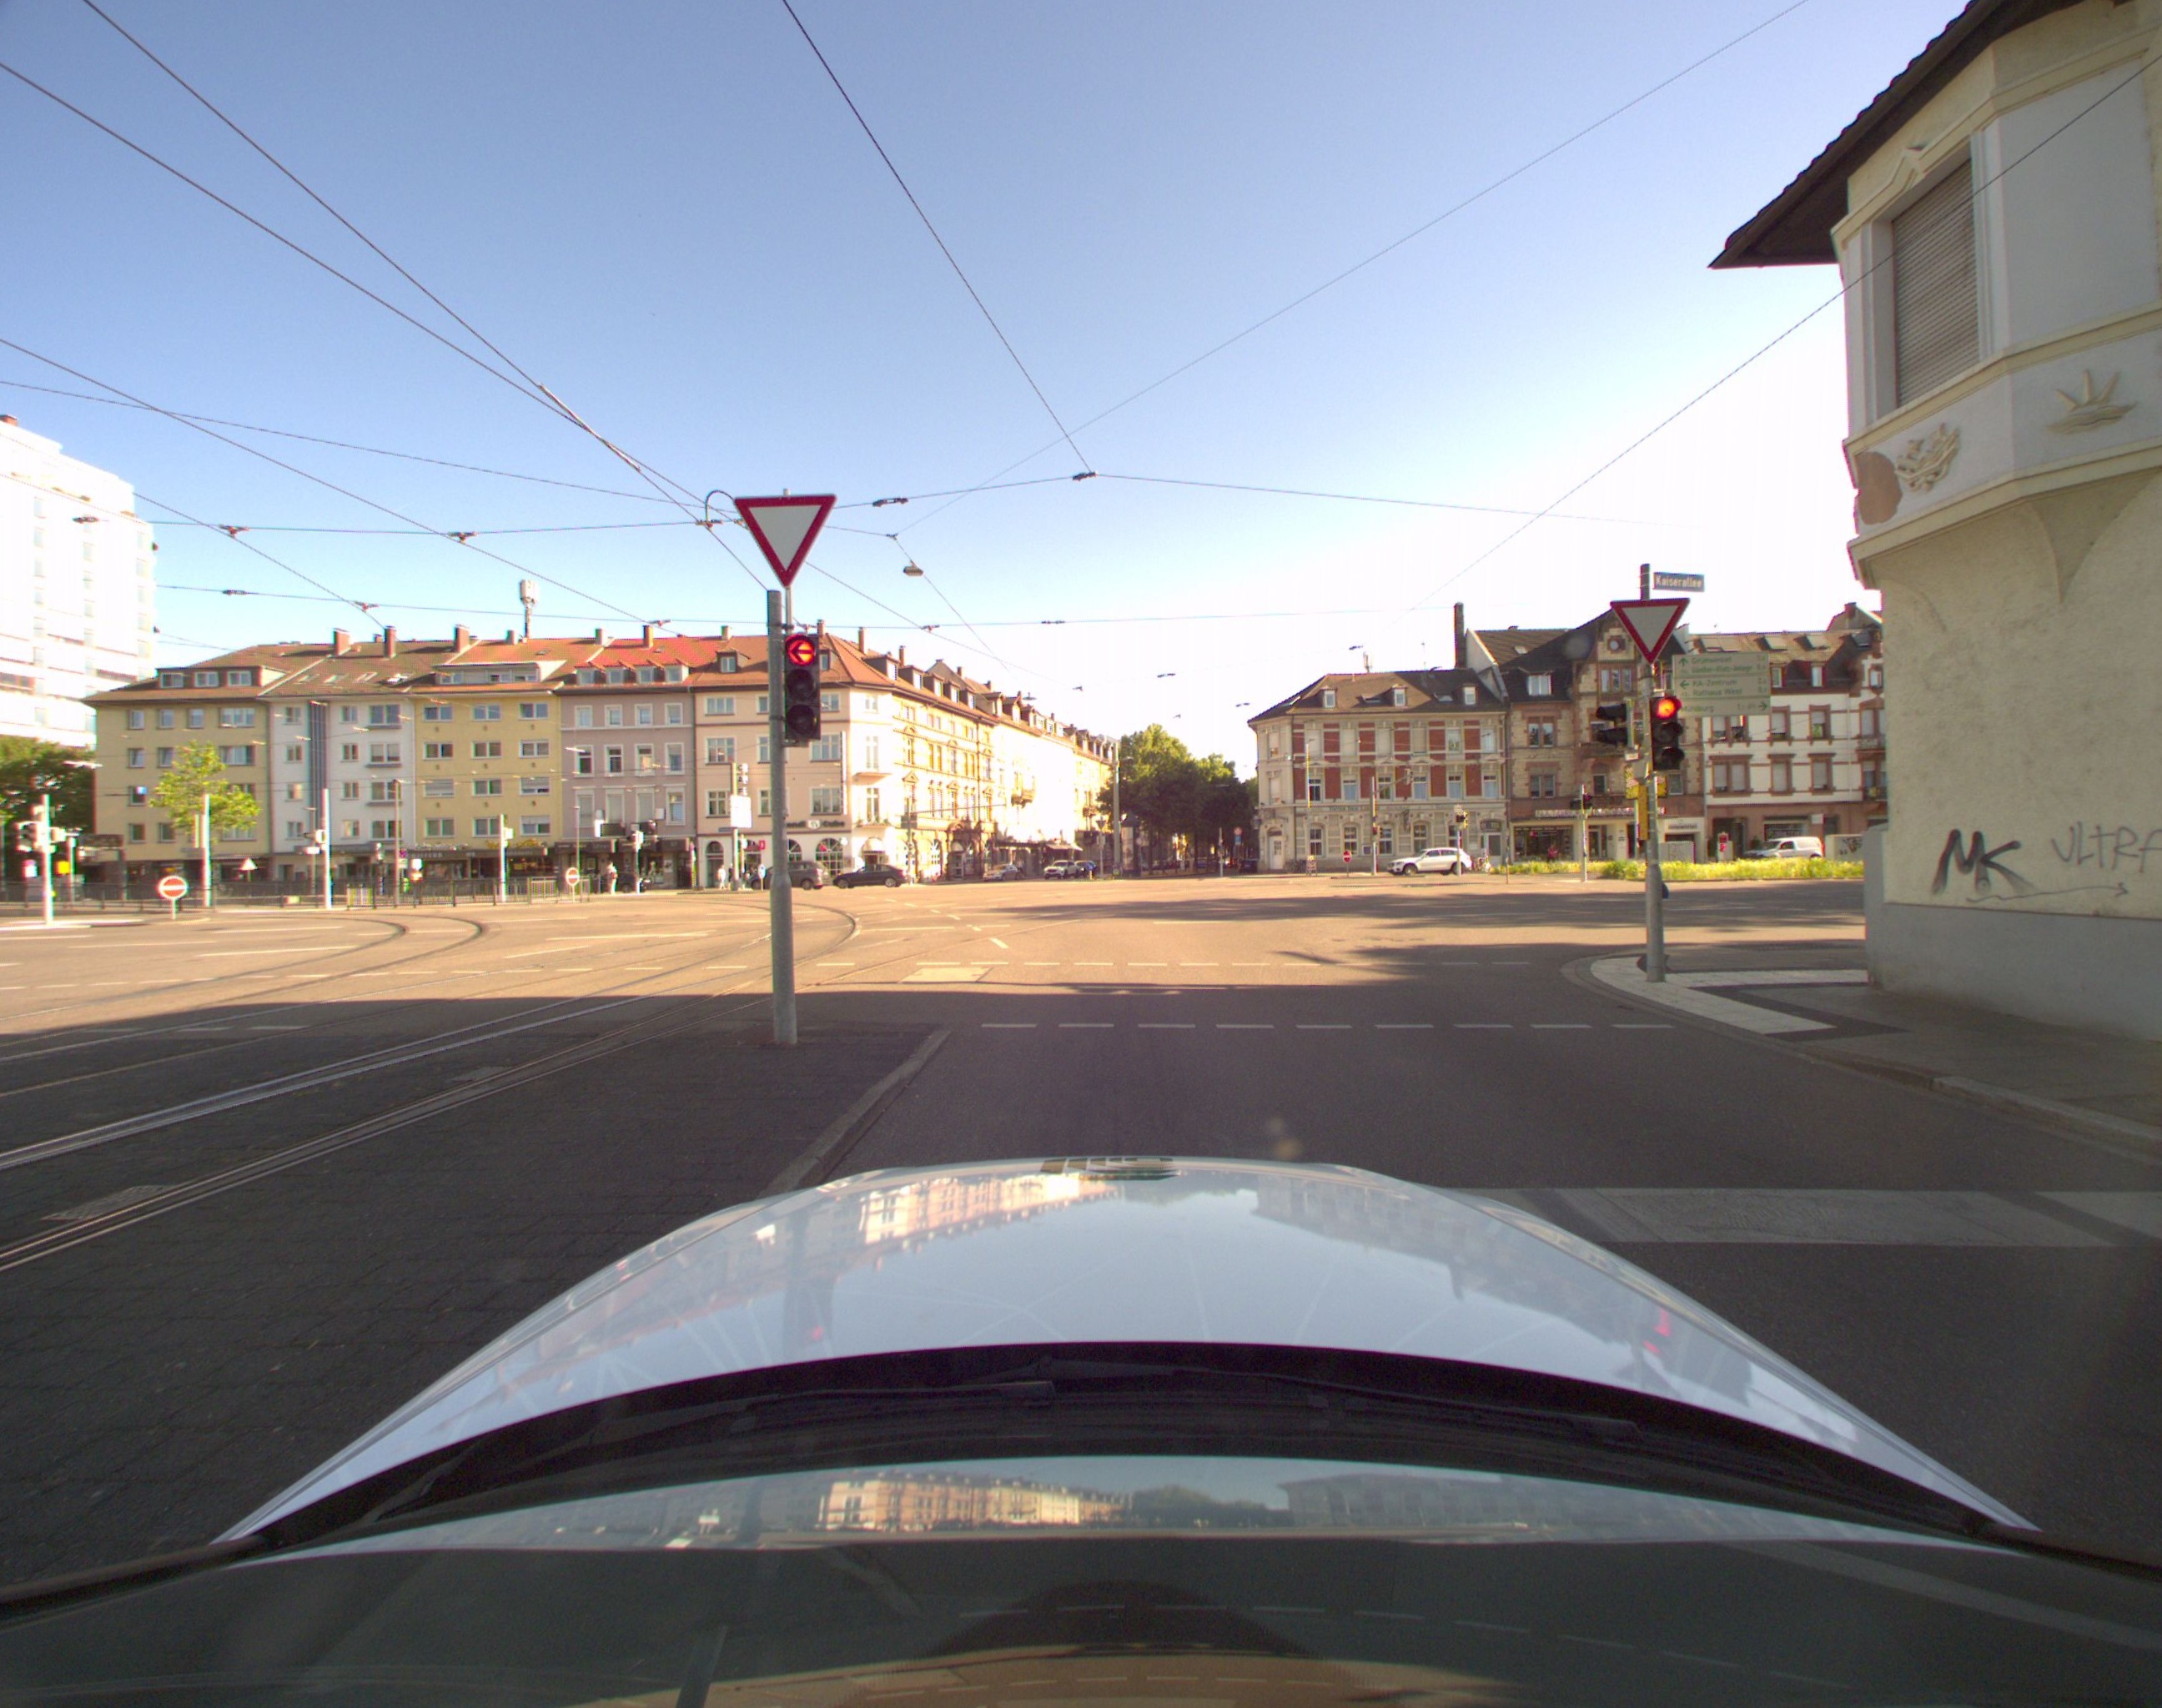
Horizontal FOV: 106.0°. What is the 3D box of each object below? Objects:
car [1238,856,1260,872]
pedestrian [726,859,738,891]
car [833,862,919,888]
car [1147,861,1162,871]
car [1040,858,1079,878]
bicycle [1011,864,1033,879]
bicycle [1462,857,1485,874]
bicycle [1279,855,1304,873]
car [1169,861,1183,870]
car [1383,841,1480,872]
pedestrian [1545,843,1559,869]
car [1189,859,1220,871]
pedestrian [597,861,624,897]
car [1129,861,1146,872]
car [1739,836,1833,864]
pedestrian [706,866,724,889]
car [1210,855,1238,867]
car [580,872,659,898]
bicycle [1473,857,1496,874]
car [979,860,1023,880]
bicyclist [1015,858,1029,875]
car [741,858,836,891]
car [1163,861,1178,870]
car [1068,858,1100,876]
[{"bbox_3d":[16.910,0.996,82.040,1.637,1.524,3.772,-2,-1,20],"label":"car"},{"bbox_3d":[-22.776,1.359,53.114,0.506,2.013,0.505,-1,0,5],"label":"pedestrian"},{"bbox_3d":[-12.007,1.212,47.842,4.496,1.341,2.000,-1,0,0],"label":"car"},{"bbox_3d":[11.071,1.736,122.698,1.729,1.397,4.137,1,0,12],"label":"car"},{"bbox_3d":[-1.727,1.166,67.359,2.080,1.499,4.017,-2,0,16],"label":"car"},{"bbox_3d":[-4.766,1.433,65.890,0.745,1.135,2.821,-1,0,16],"label":"bicycle"},{"bbox_3d":[25.317,0.719,52.607,0.603,1.051,1.641,-1,0,-3],"label":"bicycle"},{"bbox_3d":[14.698,0.693,56.928,1.625,1.222,0.609,-1,0,18],"label":"bicycle"},{"bbox_3d":[15.873,1.843,136.193,1.728,1.397,4.141,1,0,16],"label":"car"},{"bbox_3d":[20.459,0.165,47.692,4.838,1.660,1.997,-1,0,-4],"label":"car"},{"bbox_3d":[32.112,0.159,55.514,0.705,1.751,0.421,-1,0,3],"label":"pedestrian"},{"bbox_3d":[17.493,1.533,114.982,4.078,1.646,1.754,1,0,17],"label":"car"},{"bbox_3d":[-24.569,1.312,42.548,0.871,1.818,0.811,-1,0,2],"label":"pedestrian"},{"bbox_3d":[7.609,1.657,109.992,1.729,1.397,4.137,1,0,12],"label":"car"},{"bbox_3d":[45.387,-0.230,52.459,4.356,1.654,1.999,-1,0,-2],"label":"car"},{"bbox_3d":[-25.004,1.614,55.664,0.787,1.527,0.860,-1,0,2],"label":"pedestrian"},{"bbox_3d":[23.381,1.095,133.060,4.074,1.919,1.756,1,0,23],"label":"car"},{"bbox_3d":[-30.272,1.994,53.525,3.978,1.464,1.998,-2,0,-4],"label":"car"},{"bbox_3d":[26.055,0.713,52.600,0.603,1.051,1.641,-1,0,-3],"label":"bicycle"},{"bbox_3d":[-6.595,1.307,67.690,2.080,1.545,4.382,-2,0,16],"label":"car"},{"bbox_3d":[-4.763,0.990,65.861,0.787,1.375,1.113,-1,0,16],"label":"bicyclist"},{"bbox_3d":[-16.211,1.098,45.329,4.494,1.672,2.000,-1,0,1],"label":"car"},{"bbox_3d":[14.449,1.819,131.446,1.728,1.397,4.141,1,0,16],"label":"car"},{"bbox_3d":[0.295,1.155,73.683,1.979,1.513,4.015,-1,0,14],"label":"car"}]
